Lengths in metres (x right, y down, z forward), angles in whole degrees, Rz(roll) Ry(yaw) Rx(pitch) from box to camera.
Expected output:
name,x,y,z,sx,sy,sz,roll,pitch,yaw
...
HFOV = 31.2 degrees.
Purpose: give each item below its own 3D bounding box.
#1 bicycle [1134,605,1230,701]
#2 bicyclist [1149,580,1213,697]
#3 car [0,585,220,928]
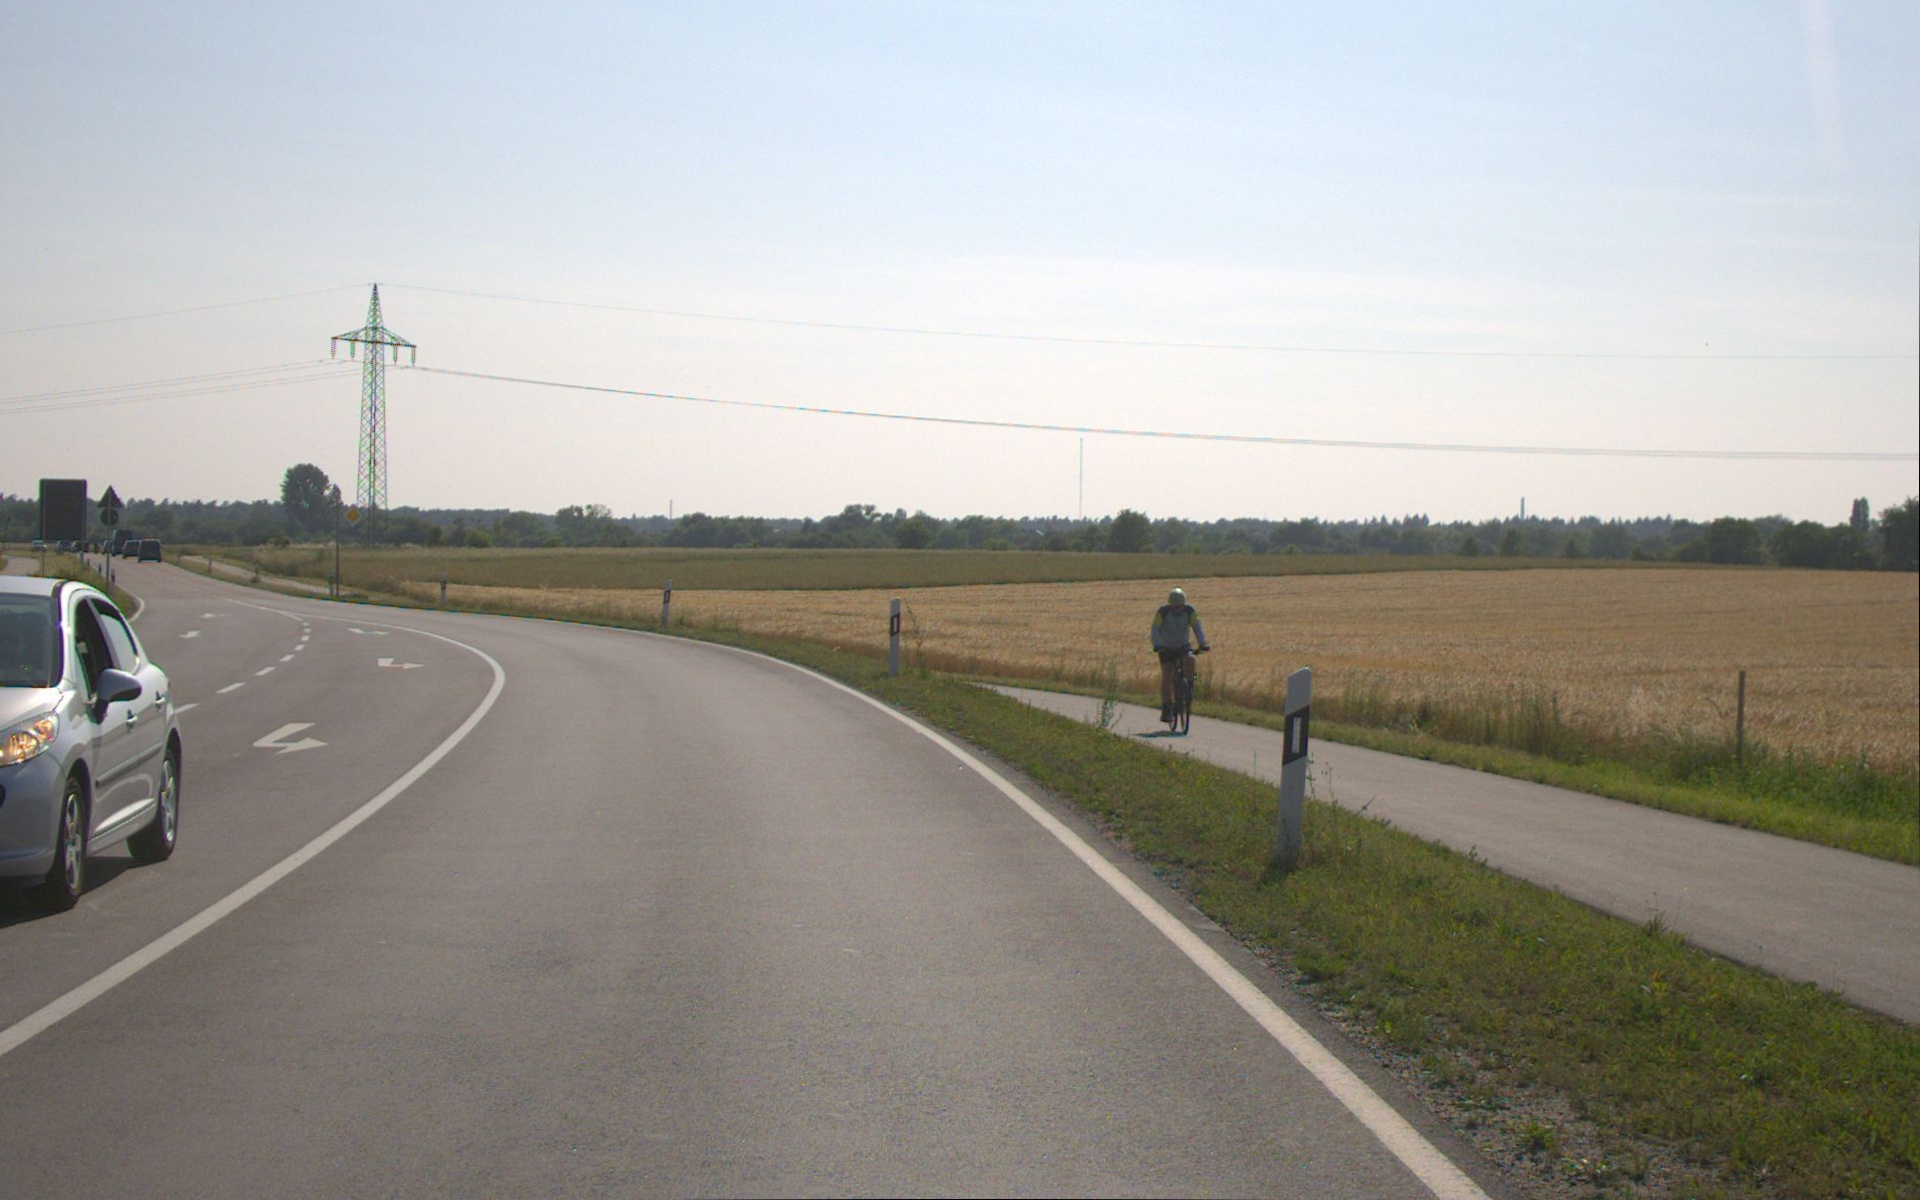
name,x,y,z,sx,sy,sz,roll,pitch,yaw
bicycle,2.814,0.658,43.760,0.845,1.138,2.207,3,0,-5
bicyclist,2.818,0.486,43.879,0.637,1.452,0.817,3,0,-5
car,-4.754,0.646,16.257,1.686,1.398,4.000,0,1,-1
